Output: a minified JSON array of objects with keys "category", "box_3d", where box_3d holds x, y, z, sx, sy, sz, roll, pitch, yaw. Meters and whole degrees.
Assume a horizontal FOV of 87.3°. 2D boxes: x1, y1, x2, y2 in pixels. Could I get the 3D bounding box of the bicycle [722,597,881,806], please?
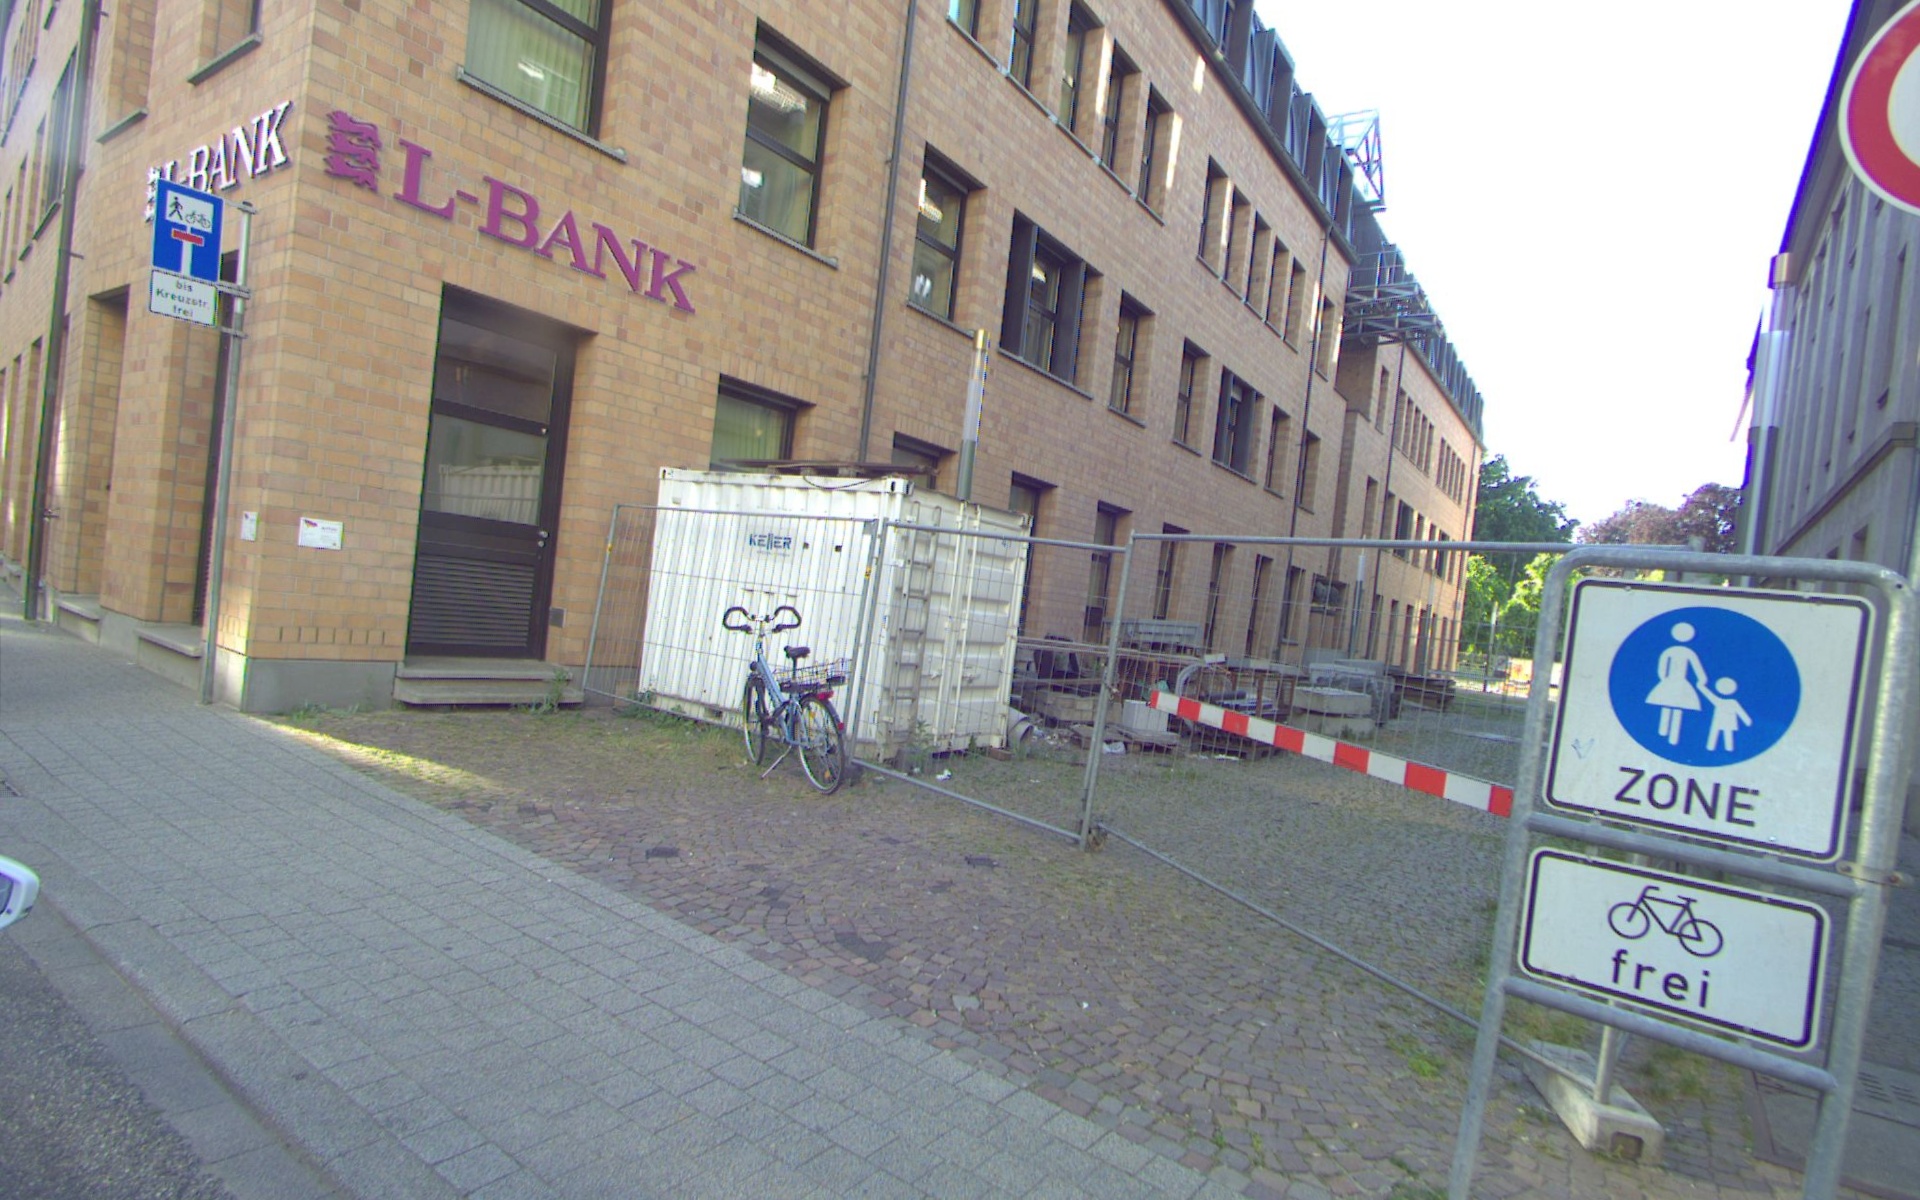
[{"category":"bicycle","box_3d":[-1.190,0.678,7.288,0.317,1.265,1.566,6,1,-37]}]
